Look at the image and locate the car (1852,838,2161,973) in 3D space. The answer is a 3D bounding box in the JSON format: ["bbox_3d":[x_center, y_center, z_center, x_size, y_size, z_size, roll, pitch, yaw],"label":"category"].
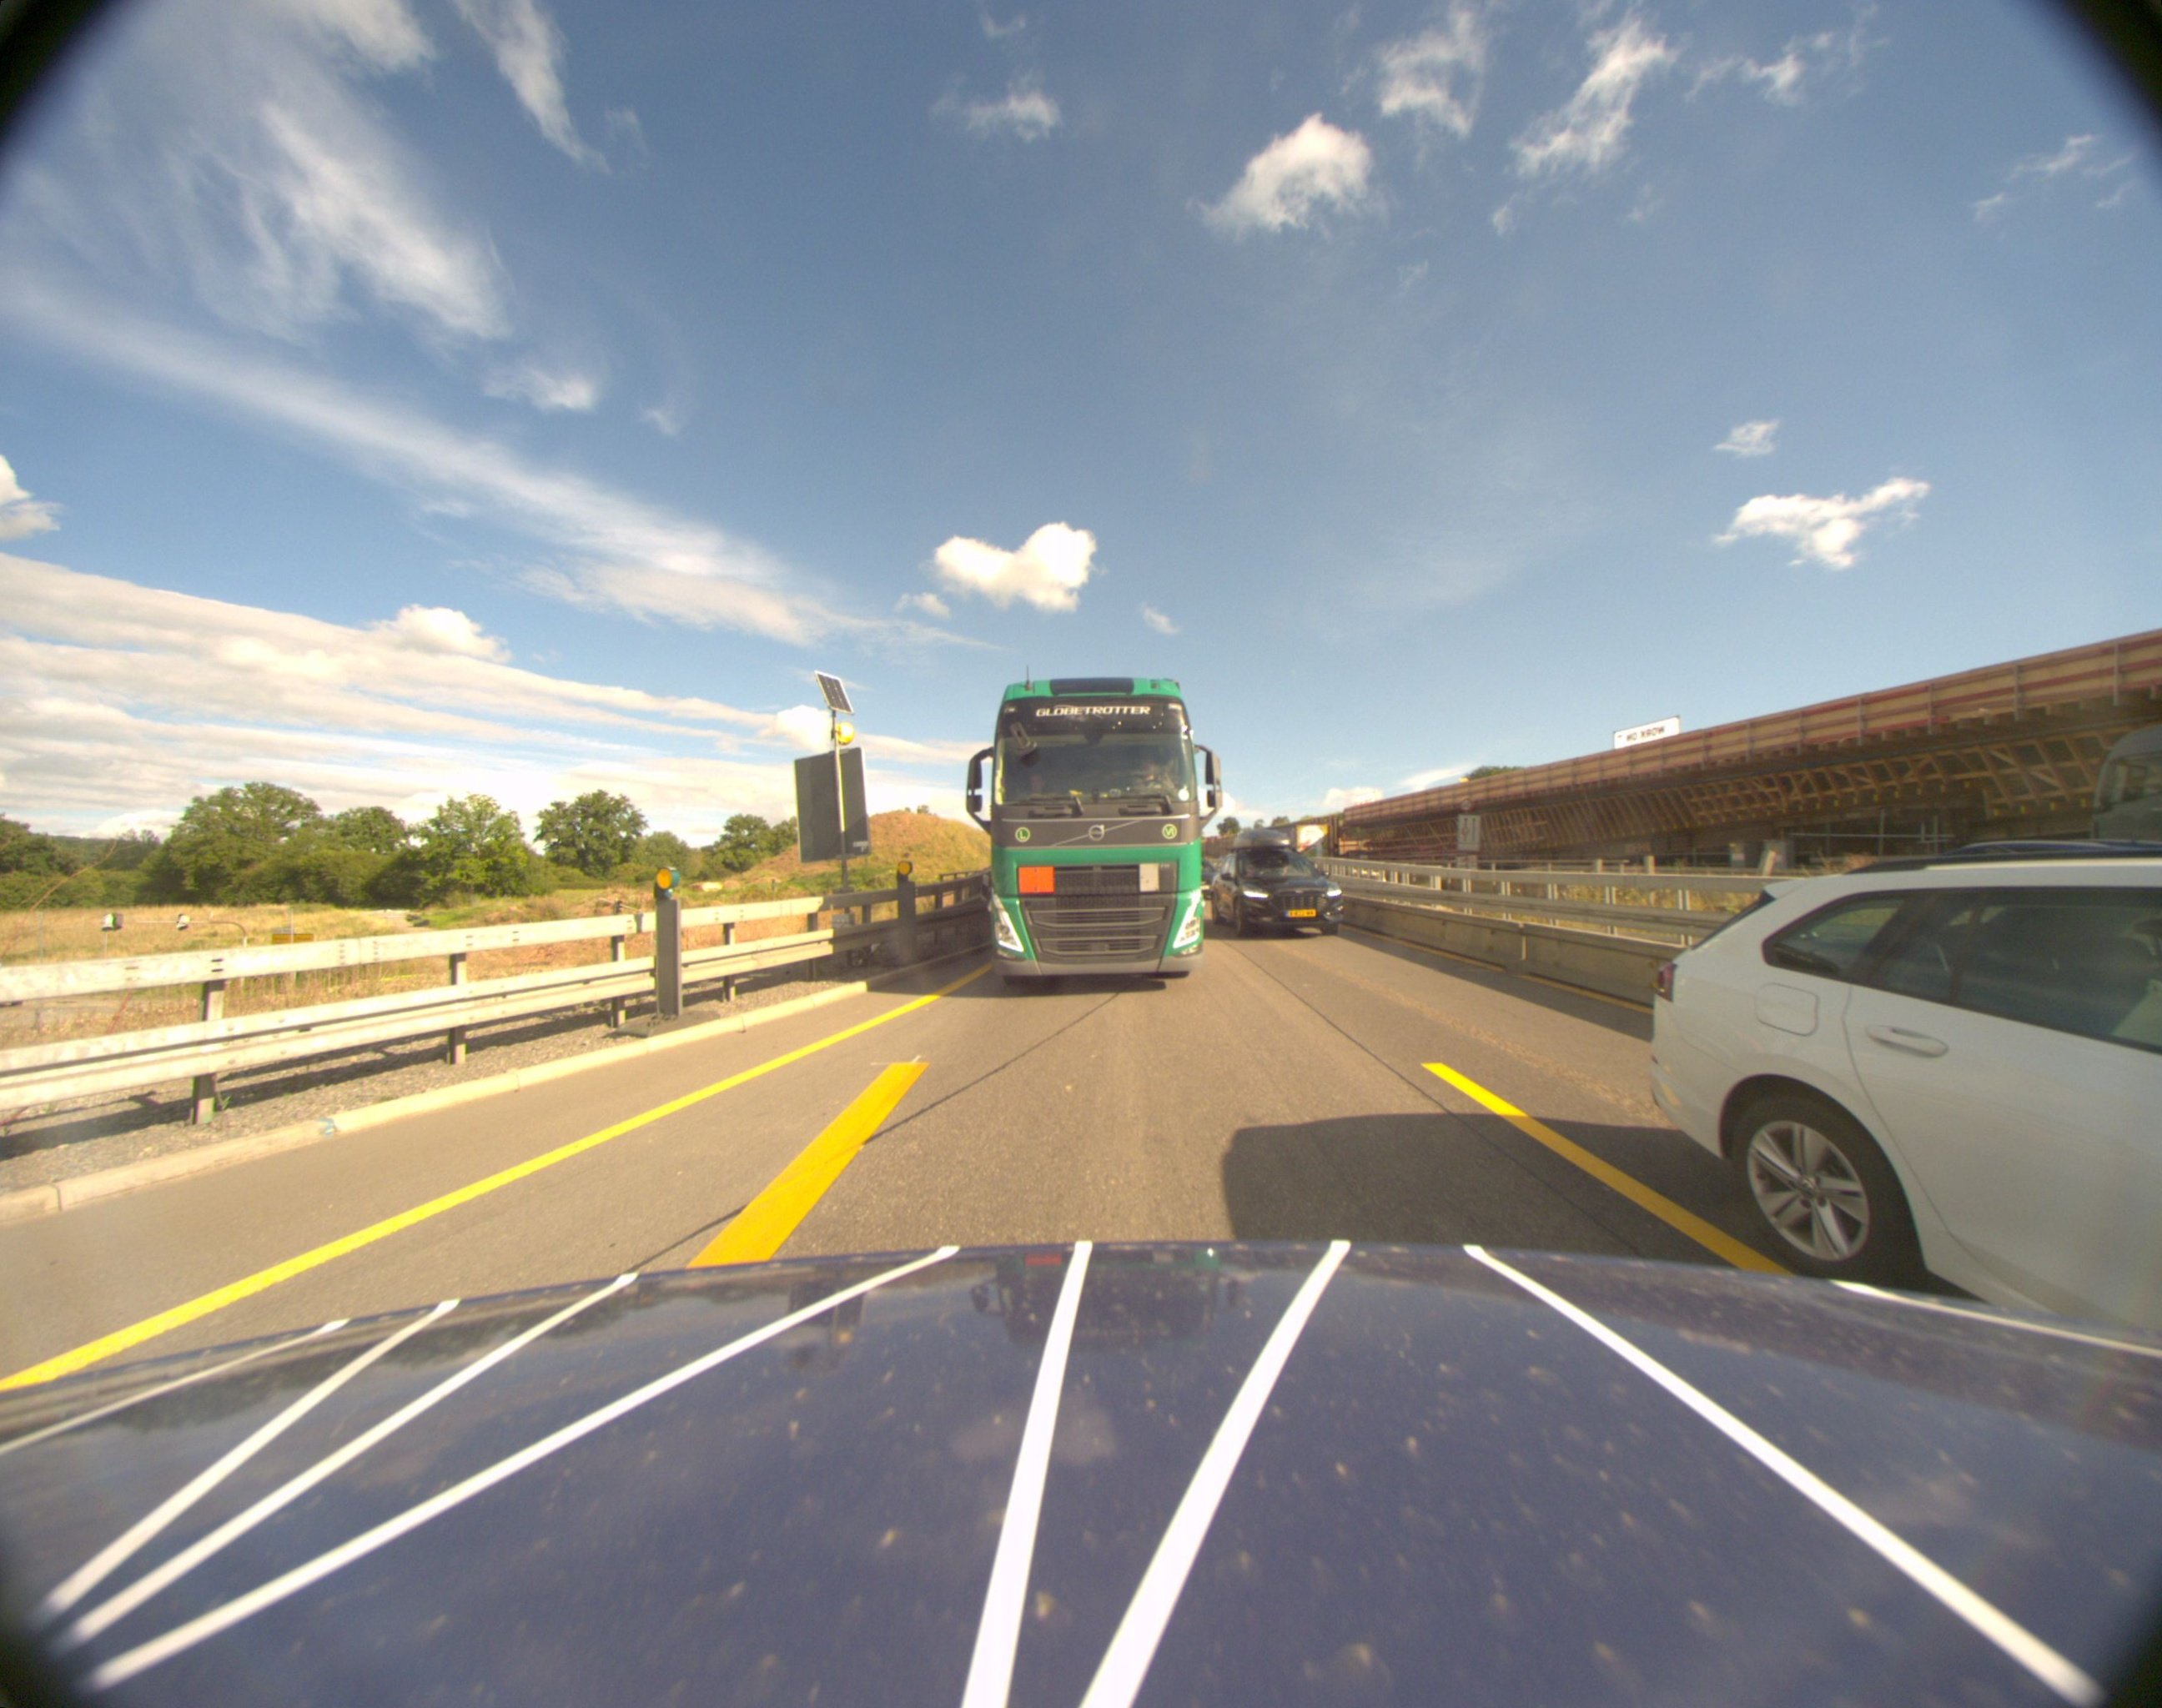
[{"bbox_3d":[15.258,0.650,12.013,1.998,1.716,4.122,-2,1,1],"label":"car"}]

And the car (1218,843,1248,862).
[{"bbox_3d":[14.436,-0.161,72.573,1.928,1.757,4.326,-2,1,0],"label":"car"}]

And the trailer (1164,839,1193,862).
[{"bbox_3d":[16.766,-0.645,131.734,2.870,3.645,13.525,-2,1,-1],"label":"trailer"}]

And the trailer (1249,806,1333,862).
[{"bbox_3d":[17.415,-1.566,64.476,2.695,4.132,13.807,-2,1,-2],"label":"trailer"}]

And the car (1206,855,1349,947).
[{"bbox_3d":[3.751,0.812,15.335,1.804,1.533,4.384,-2,0,1],"label":"car"}]

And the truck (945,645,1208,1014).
[{"bbox_3d":[0.017,-0.307,13.198,2.663,3.825,10.316,-2,1,1],"label":"truck"}]

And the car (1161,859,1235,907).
[{"bbox_3d":[4.113,0.961,27.403,1.949,1.422,4.504,-2,1,0],"label":"car"}]

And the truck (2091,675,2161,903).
[{"bbox_3d":[19.187,-1.088,10.431,2.783,3.766,6.019,-2,1,3],"label":"truck"}]

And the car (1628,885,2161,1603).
[{"bbox_3d":[3.215,0.893,1.074,1.774,1.482,4.517,0,0,3],"label":"car"}]

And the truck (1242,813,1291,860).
[{"bbox_3d":[17.236,-1.627,70.969,2.719,4.114,5.968,-2,1,-2],"label":"truck"}]
